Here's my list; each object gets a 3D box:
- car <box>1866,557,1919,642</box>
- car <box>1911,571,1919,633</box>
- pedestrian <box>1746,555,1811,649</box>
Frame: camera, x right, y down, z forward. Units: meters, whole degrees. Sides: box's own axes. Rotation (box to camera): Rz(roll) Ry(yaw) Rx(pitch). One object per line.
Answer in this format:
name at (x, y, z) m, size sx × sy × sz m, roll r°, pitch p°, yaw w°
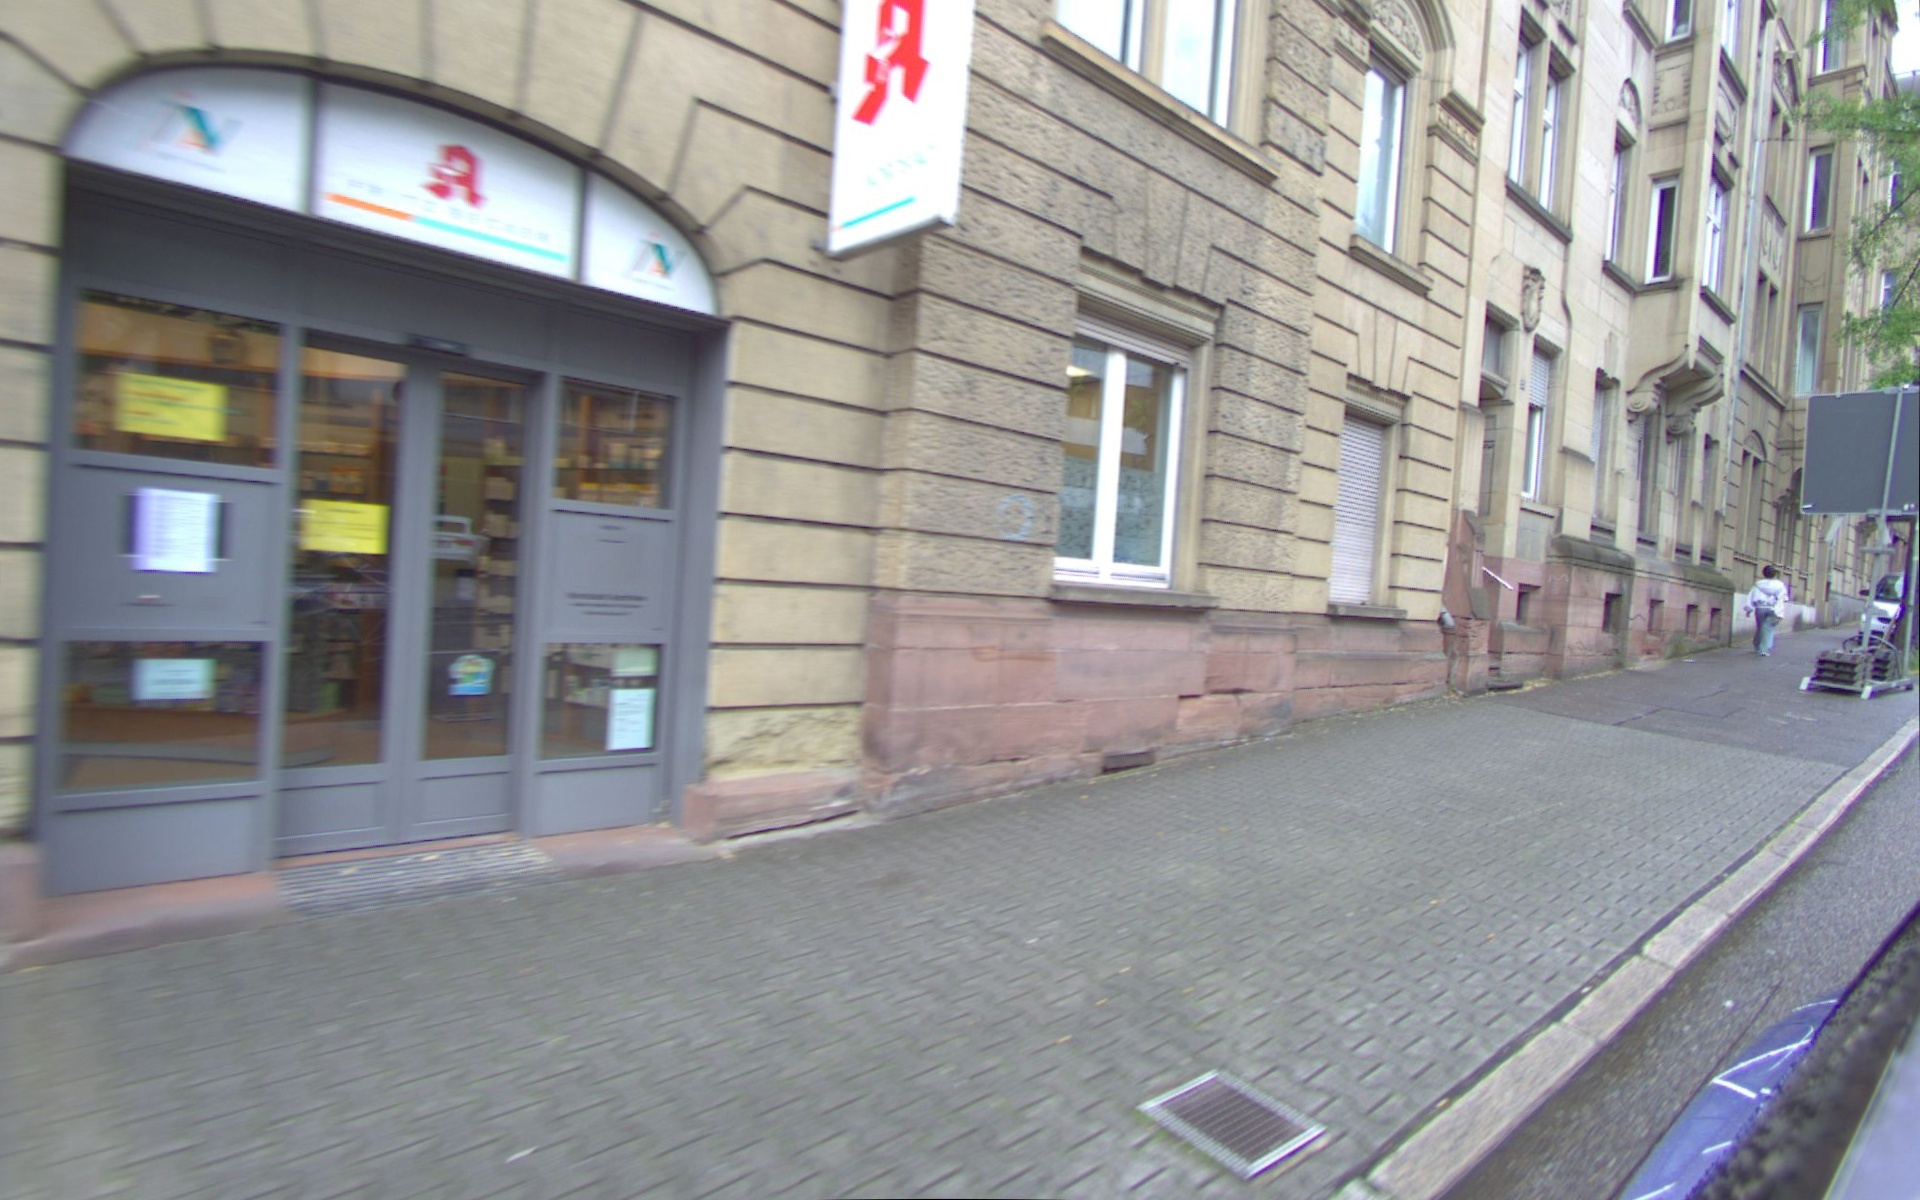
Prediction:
car at (20.432, 0.007, 21.302) m, size 3.434 × 1.636 × 1.526 m, roll 0°, pitch 7°, yaw -42°
car at (24.743, 0.110, 24.877) m, size 3.698 × 1.503 × 1.547 m, roll 0°, pitch 7°, yaw -42°
pedestrian at (13.978, 0.014, 17.283) m, size 0.679 × 1.513 × 0.644 m, roll -4°, pitch 8°, yaw -41°
